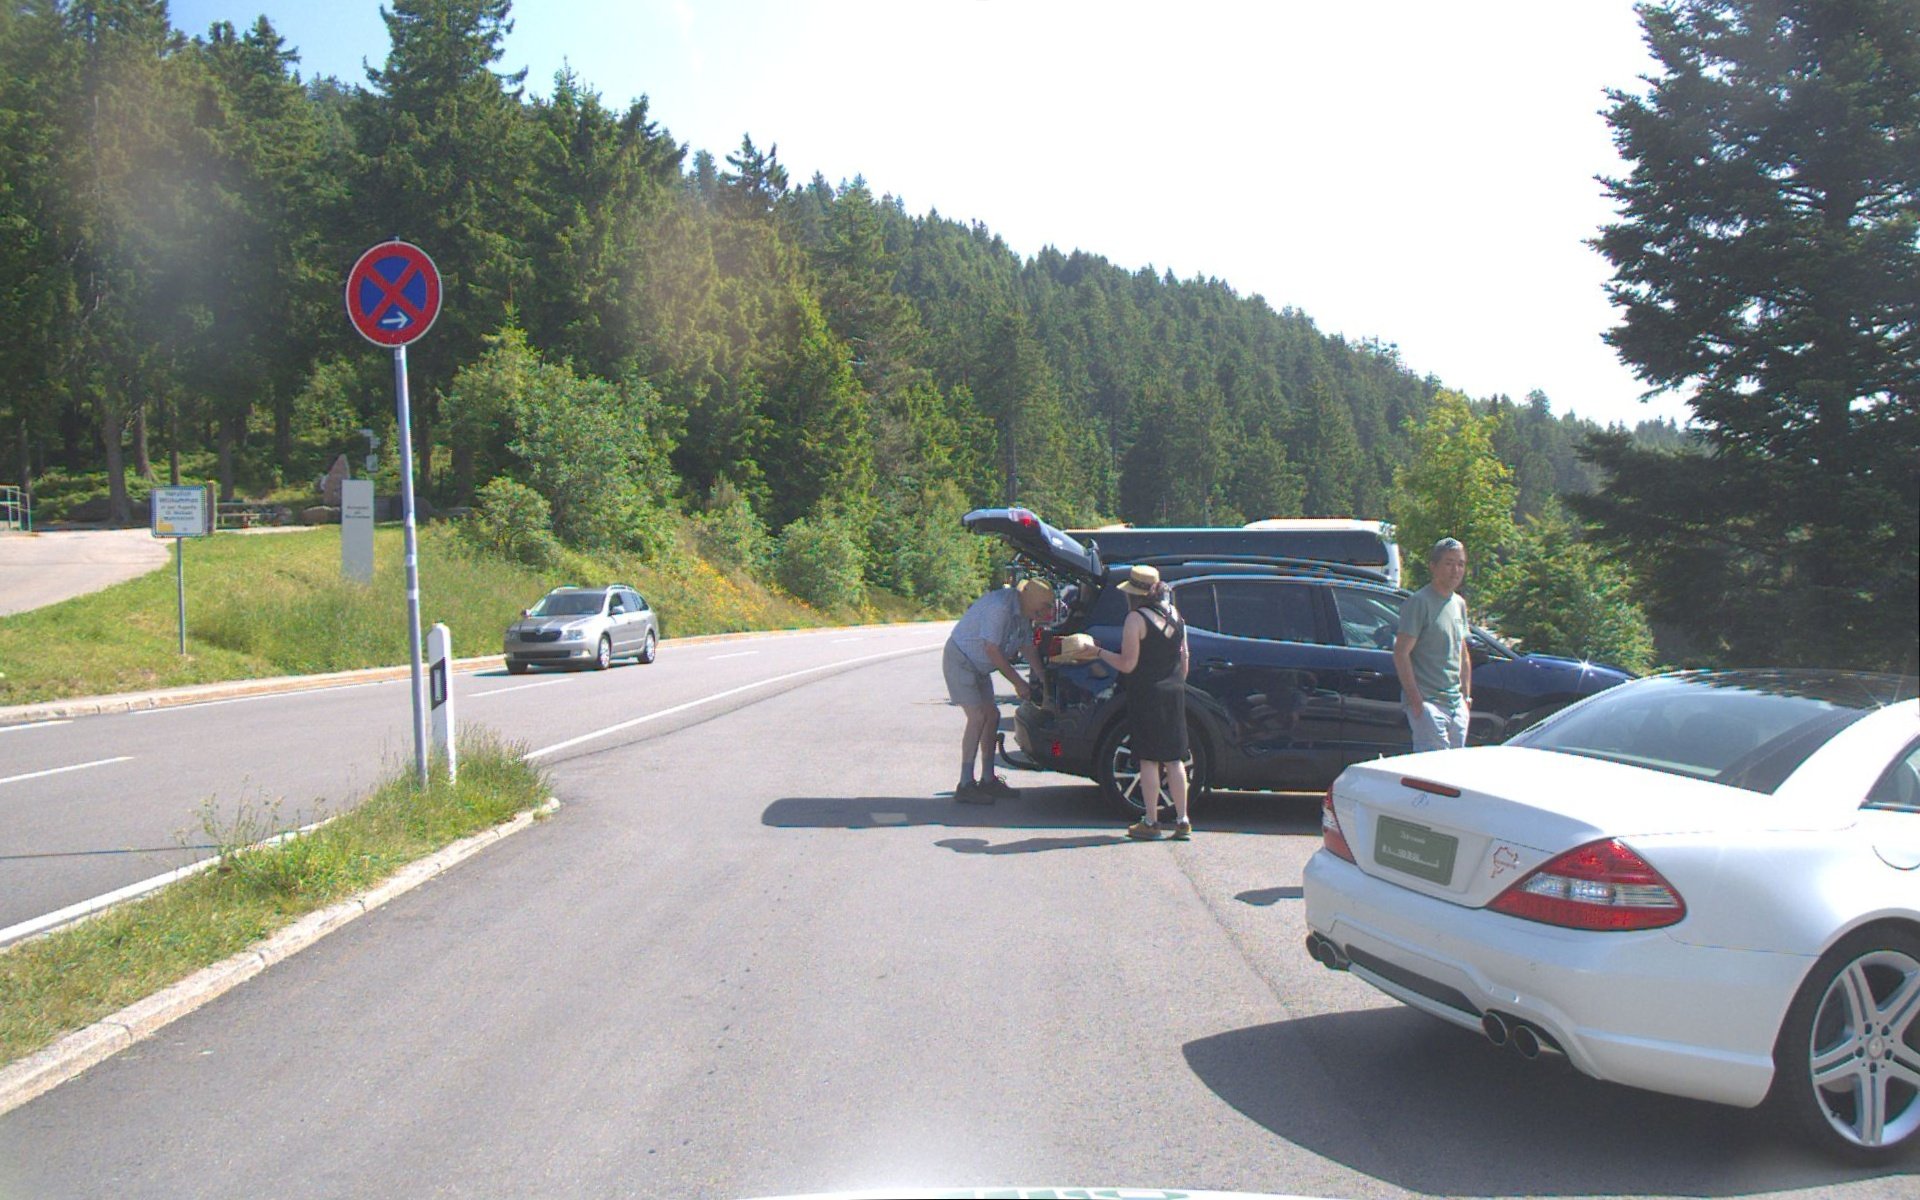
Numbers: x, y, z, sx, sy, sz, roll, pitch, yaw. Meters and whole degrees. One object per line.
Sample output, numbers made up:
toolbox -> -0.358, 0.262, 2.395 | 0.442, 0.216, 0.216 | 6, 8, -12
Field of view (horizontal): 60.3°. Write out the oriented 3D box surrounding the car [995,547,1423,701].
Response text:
car -> 2.939, 0.277, 19.942 | 4.844, 1.725, 1.946 | -1, 0, 7

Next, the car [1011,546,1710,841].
car -> 2.546, 0.588, 11.284 | 4.256, 1.654, 1.869 | 3, 0, -1

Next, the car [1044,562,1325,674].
car -> 3.425, 0.263, 25.672 | 4.154, 1.581, 1.839 | -1, 0, 4

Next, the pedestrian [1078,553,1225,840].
pedestrian -> 1.130, 0.559, 9.834 | 0.702, 1.641, 0.534 | 1, -1, -16

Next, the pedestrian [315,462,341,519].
pedestrian -> -21.755, -3.774, 56.942 | 0.669, 1.910, 0.540 | -1, 0, 37

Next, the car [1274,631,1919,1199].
car -> 3.421, 0.859, 5.586 | 4.330, 1.318, 1.747 | 2, 1, -19

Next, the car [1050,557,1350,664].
car -> 4.058, 0.171, 28.567 | 4.928, 1.680, 2.049 | -1, 0, 4

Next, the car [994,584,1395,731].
car -> 2.415, 0.581, 17.694 | 3.999, 1.400, 1.702 | 1, 0, -2

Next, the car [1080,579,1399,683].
car -> 3.757, 0.399, 22.769 | 4.154, 1.291, 1.839 | -1, 0, 4

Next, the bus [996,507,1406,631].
bus -> 7.800, -0.937, 53.696 | 12.815, 3.594, 3.046 | -1, 0, 15

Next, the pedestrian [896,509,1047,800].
pedestrian -> 0.082, 0.338, 11.351 | 0.722, 1.903, 0.755 | 3, 3, 35

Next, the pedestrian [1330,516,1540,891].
pedestrian -> 2.455, 0.510, 8.582 | 0.737, 1.831, 0.729 | 1, -1, -28

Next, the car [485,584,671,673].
car -> -6.904, 0.460, 30.460 | 1.839, 1.500, 4.718 | 0, 1, 7

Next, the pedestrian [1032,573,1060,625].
pedestrian -> 2.728, -0.027, 52.448 | 0.754, 1.613, 0.773 | -1, 0, 11

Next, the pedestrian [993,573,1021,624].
pedestrian -> 1.506, -0.048, 52.949 | 0.754, 1.613, 0.773 | -1, 0, 11
